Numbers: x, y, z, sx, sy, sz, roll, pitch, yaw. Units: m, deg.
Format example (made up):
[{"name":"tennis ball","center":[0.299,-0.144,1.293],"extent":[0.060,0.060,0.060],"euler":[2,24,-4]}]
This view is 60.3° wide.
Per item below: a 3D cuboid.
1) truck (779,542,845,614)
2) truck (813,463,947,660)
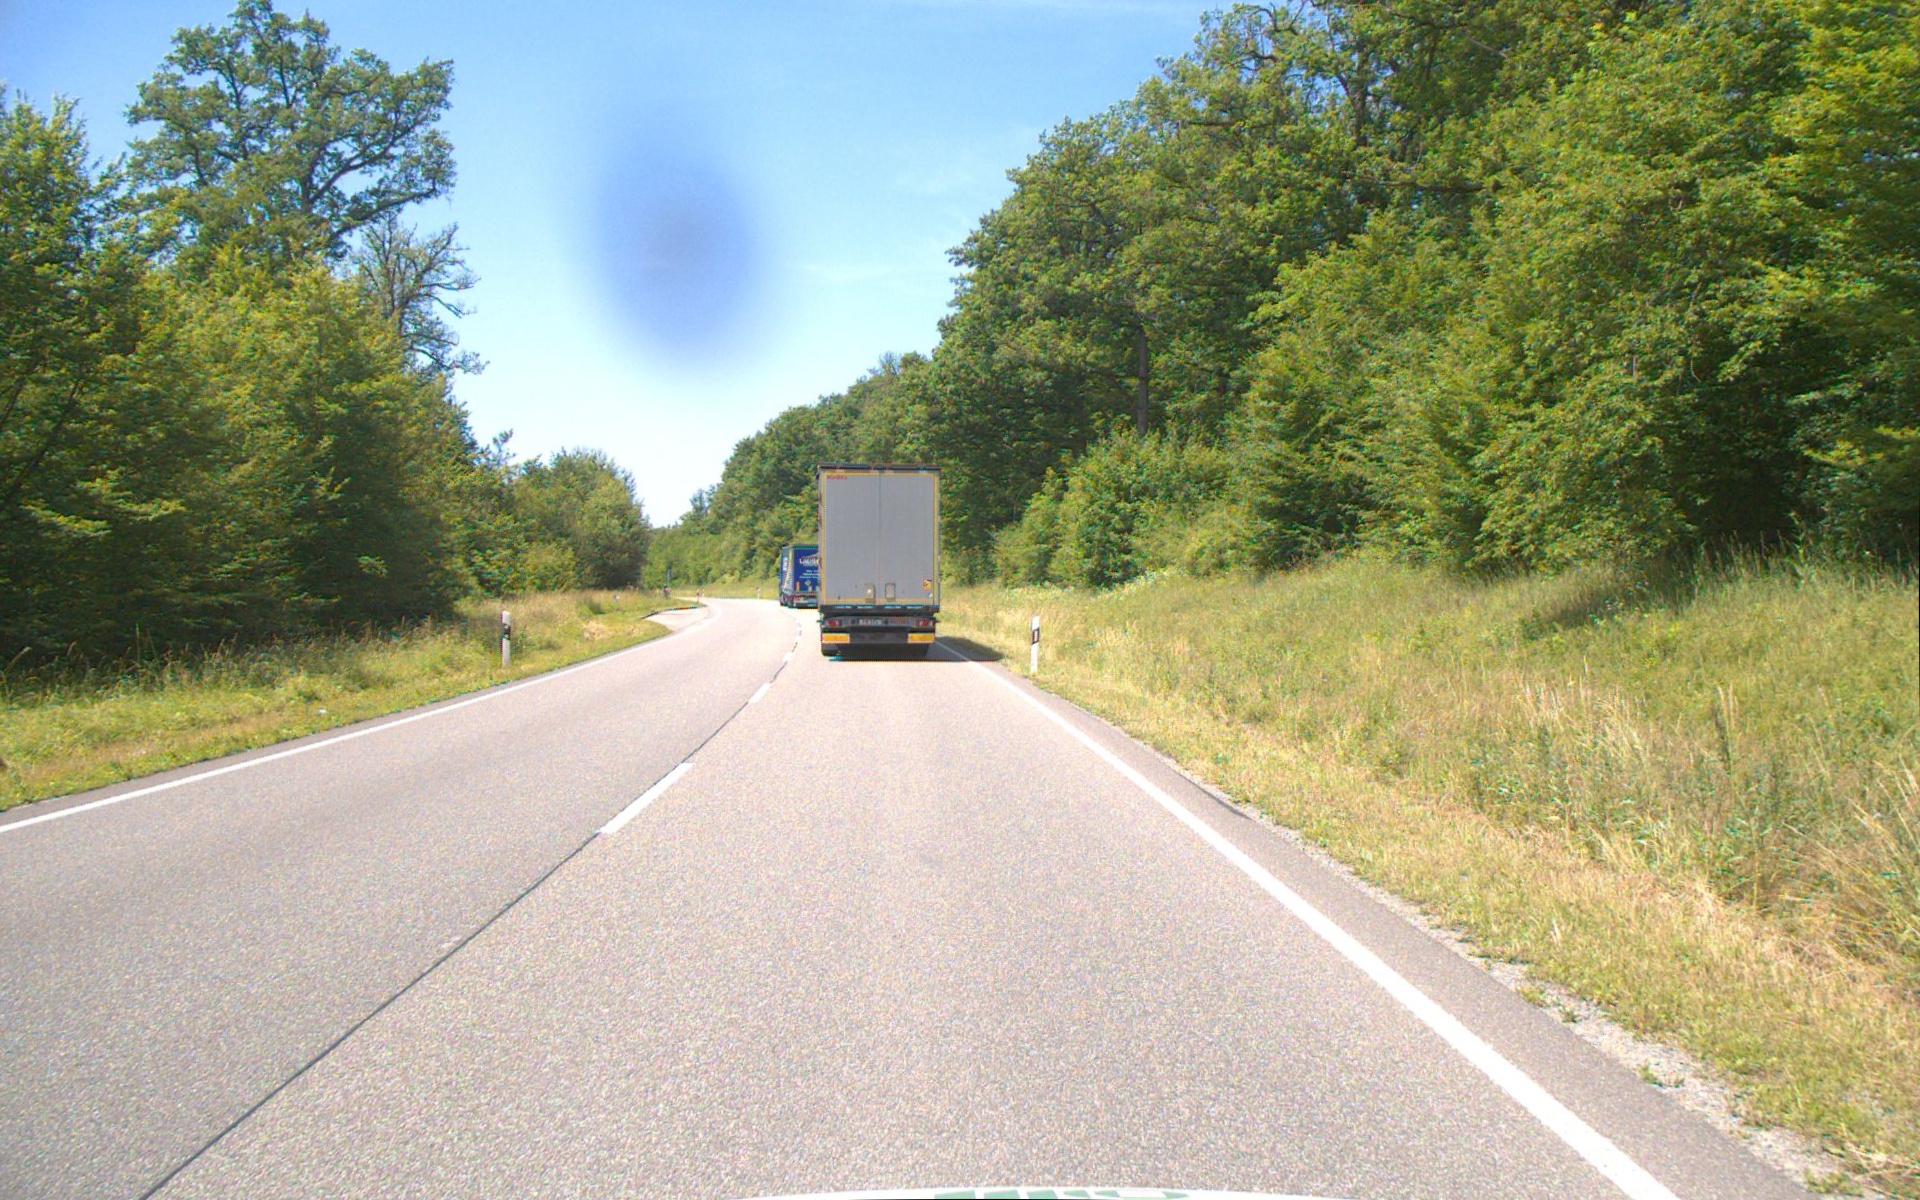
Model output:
[{"name":"truck","center":[-10.130,-1.425,111.607],"extent":[3.722,4.449,14.894],"euler":[1,0,-8]},{"name":"truck","center":[-2.056,-0.822,39.864],"extent":[2.707,4.016,12.187],"euler":[0,0,-4]}]
